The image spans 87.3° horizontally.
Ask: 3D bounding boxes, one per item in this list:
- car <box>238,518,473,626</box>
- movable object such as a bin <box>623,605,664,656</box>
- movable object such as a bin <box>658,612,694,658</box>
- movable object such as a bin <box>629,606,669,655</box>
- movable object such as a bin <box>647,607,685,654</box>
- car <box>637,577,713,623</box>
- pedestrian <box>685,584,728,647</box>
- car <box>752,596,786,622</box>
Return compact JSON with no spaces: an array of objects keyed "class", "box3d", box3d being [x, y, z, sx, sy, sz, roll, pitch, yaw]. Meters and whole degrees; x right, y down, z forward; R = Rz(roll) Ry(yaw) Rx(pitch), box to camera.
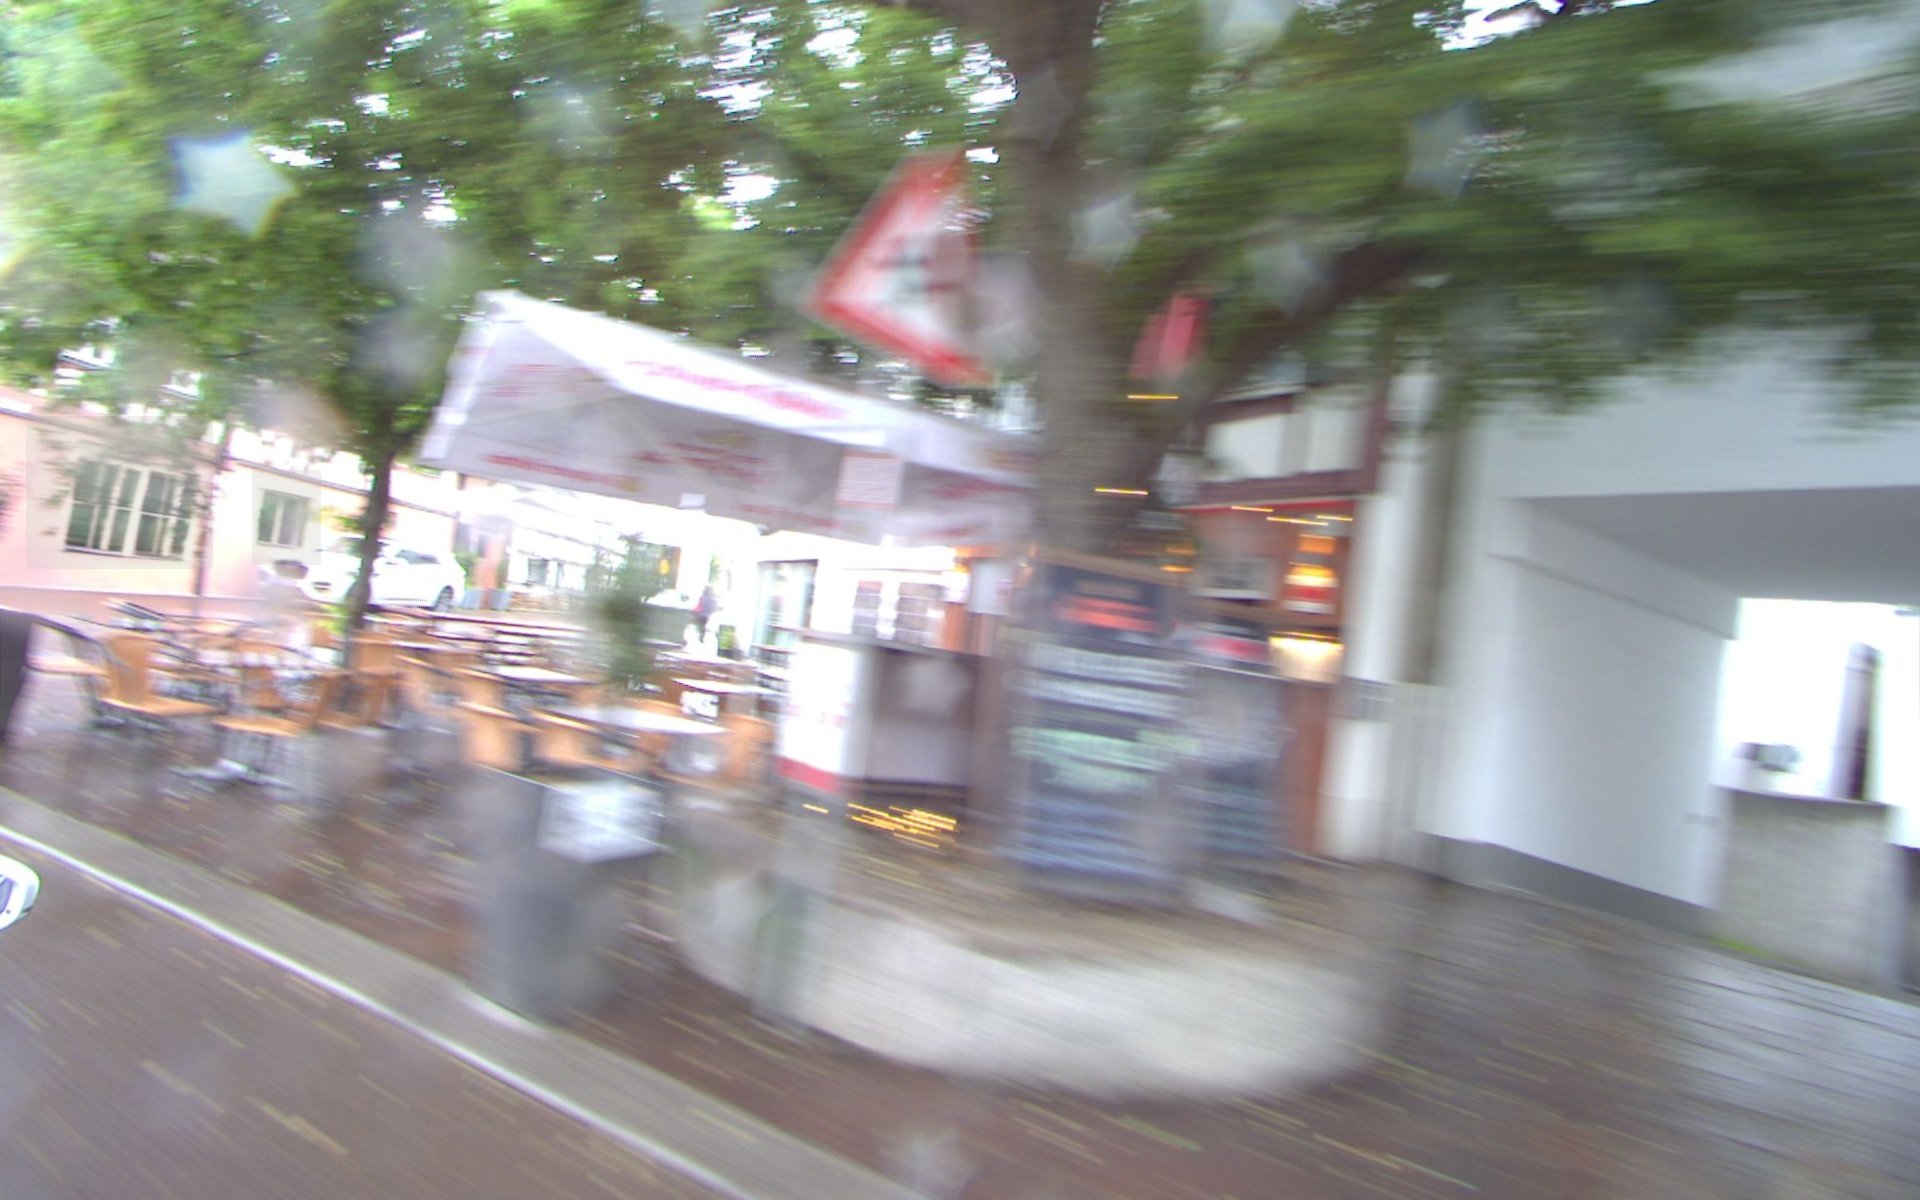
[{"class":"car","box3d":[-12.877,-0.500,21.837,1.909,1.649,4.472,10,-2,5]},{"class":"movable object such as a bin","box3d":[-7.468,0.731,23.736,0.595,1.106,0.657,7,-1,6]},{"class":"movable object such as a bin","box3d":[-7.373,0.908,26.139,0.595,1.106,0.657,7,-1,6]},{"class":"movable object such as a bin","box3d":[-7.564,0.753,24.450,0.595,1.106,0.657,7,-1,6]},{"class":"movable object such as a bin","box3d":[-7.427,0.768,25.413,0.595,1.106,0.657,7,-1,6]},{"class":"car","box3d":[-12.353,0.044,43.842,1.963,1.547,4.004,7,-2,1]},{"class":"pedestrian","box3d":[-6.537,0.409,25.969,0.747,1.535,0.842,7,-1,-1]},{"class":"car","box3d":[-13.162,0.631,69.571,1.966,1.458,4.023,8,-2,-8]}]
